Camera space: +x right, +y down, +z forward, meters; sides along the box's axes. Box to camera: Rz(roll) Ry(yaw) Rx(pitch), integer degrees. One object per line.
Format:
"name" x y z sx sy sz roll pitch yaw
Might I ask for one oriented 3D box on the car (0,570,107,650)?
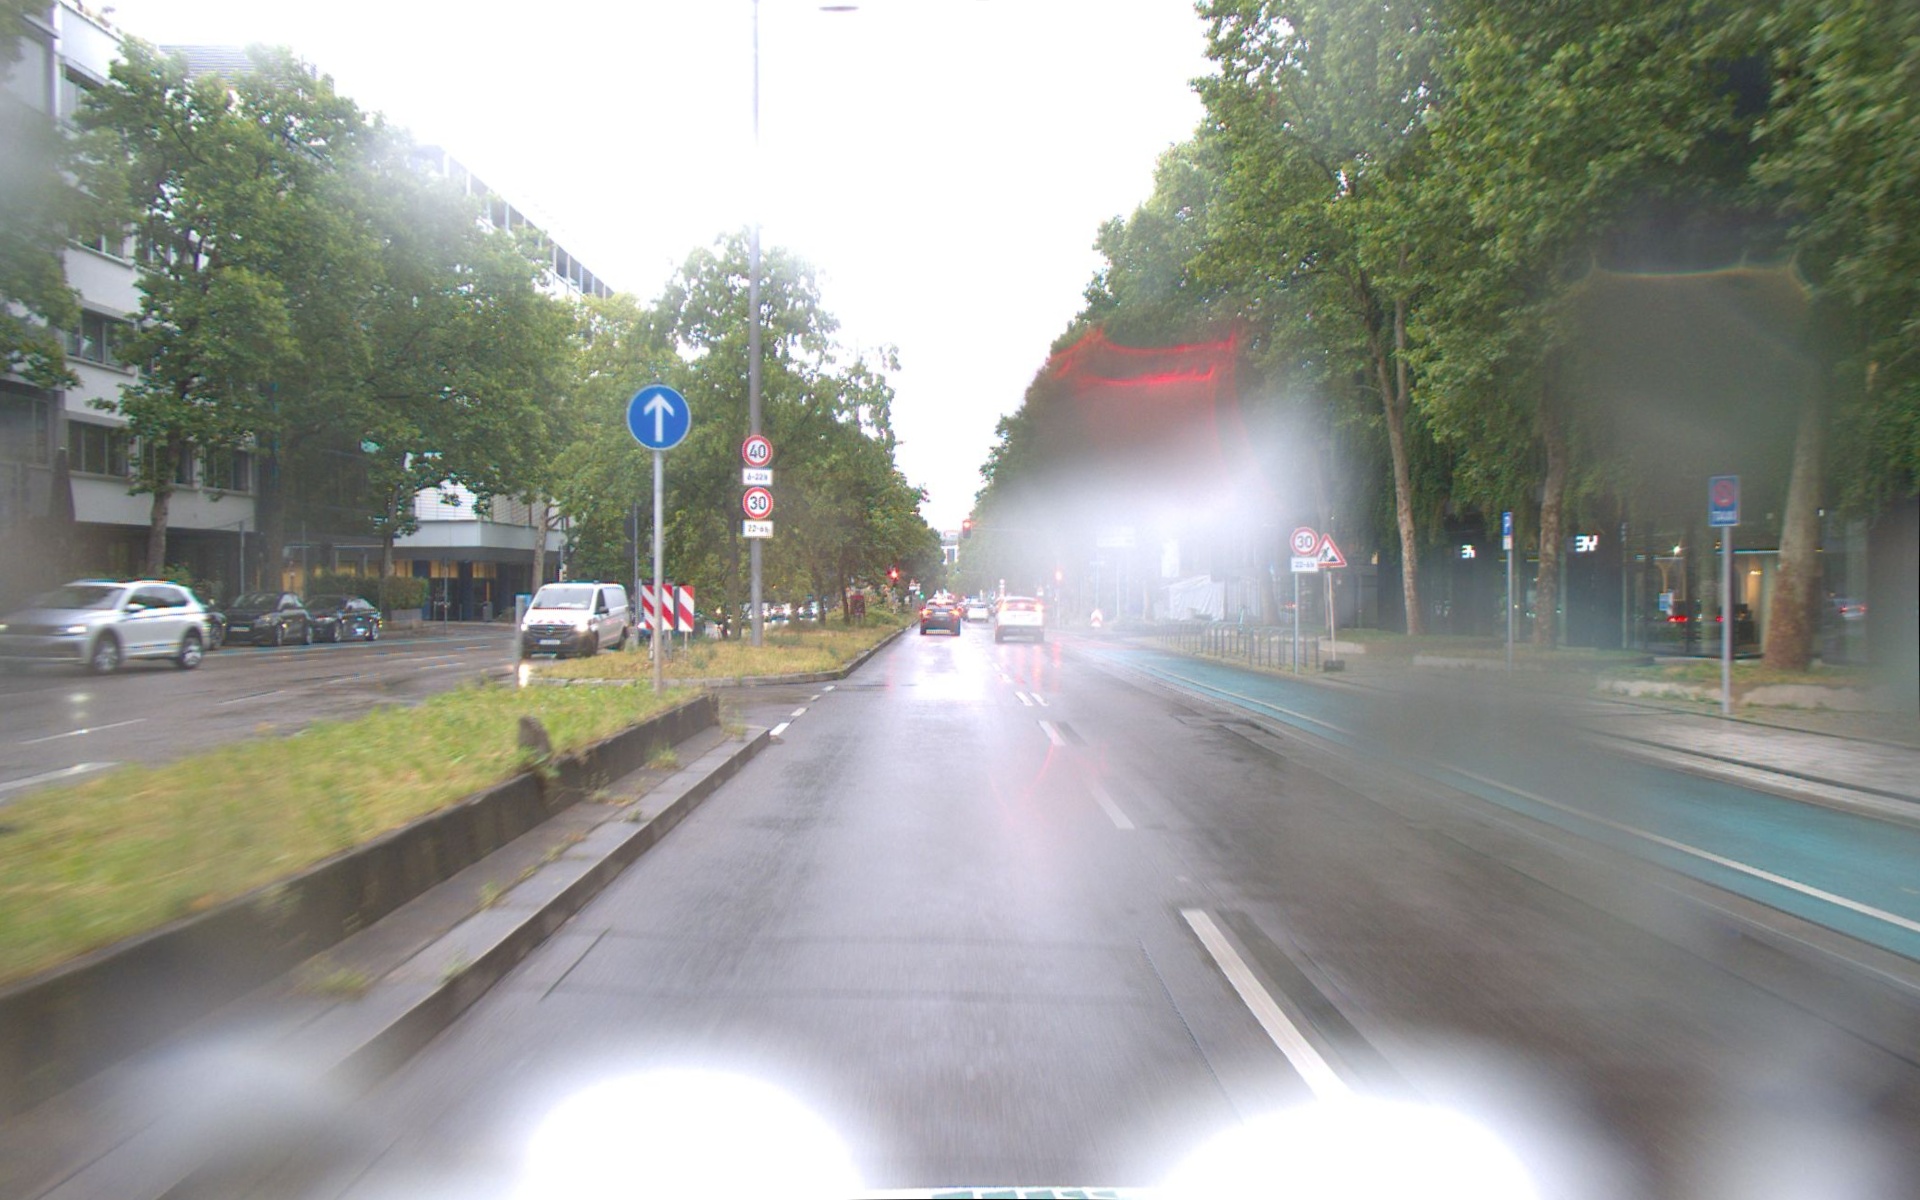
"car" -19.396 0.171 33.890 1.799 1.534 3.999 0 0 -1

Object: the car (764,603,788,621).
"car" -15.590 1.002 140.353 1.581 1.418 4.183 0 0 -1

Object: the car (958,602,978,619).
"car" 0.698 0.897 144.015 1.587 1.398 3.999 1 0 -1

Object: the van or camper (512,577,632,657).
"van or camper" -9.973 0.394 42.945 1.953 1.947 5.250 0 0 -1

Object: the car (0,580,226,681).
"car" -15.367 0.491 30.029 1.724 1.643 4.550 1 1 5

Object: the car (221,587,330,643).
"car" -19.154 0.401 46.401 1.658 1.494 3.459 0 0 -1

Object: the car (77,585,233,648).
"car" -19.447 0.350 40.174 1.658 1.434 4.455 0 0 -1

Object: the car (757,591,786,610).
"car" -14.255 0.047 125.150 1.806 1.414 3.999 1 0 -1

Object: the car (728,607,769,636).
"car" -11.499 1.148 90.046 1.806 1.454 3.642 0 0 -1

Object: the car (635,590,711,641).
"car" -9.454 0.478 54.744 1.806 1.507 4.396 1 1 -1

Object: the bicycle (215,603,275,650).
"bicycle" -17.596 0.649 40.724 0.694 1.123 1.816 0 0 0

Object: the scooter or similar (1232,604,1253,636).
"scooter or similar" 11.074 0.792 64.769 0.374 1.249 1.075 0 0 35

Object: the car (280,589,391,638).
"car" -19.374 0.387 51.532 1.658 1.434 4.903 0 0 -1

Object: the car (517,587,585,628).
"car" -15.537 0.281 62.987 1.714 1.501 4.094 1 0 -2

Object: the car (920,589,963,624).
"car" -0.854 0.270 75.237 1.879 1.517 3.999 0 0 -1

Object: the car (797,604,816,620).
"car" -15.101 1.167 162.357 1.581 1.418 3.597 0 0 -1

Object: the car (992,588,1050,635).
"car" 2.280 0.407 63.168 1.953 1.684 4.888 0 0 -1

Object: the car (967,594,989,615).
"car" 1.417 0.355 132.236 1.587 1.695 3.999 0 0 -1
